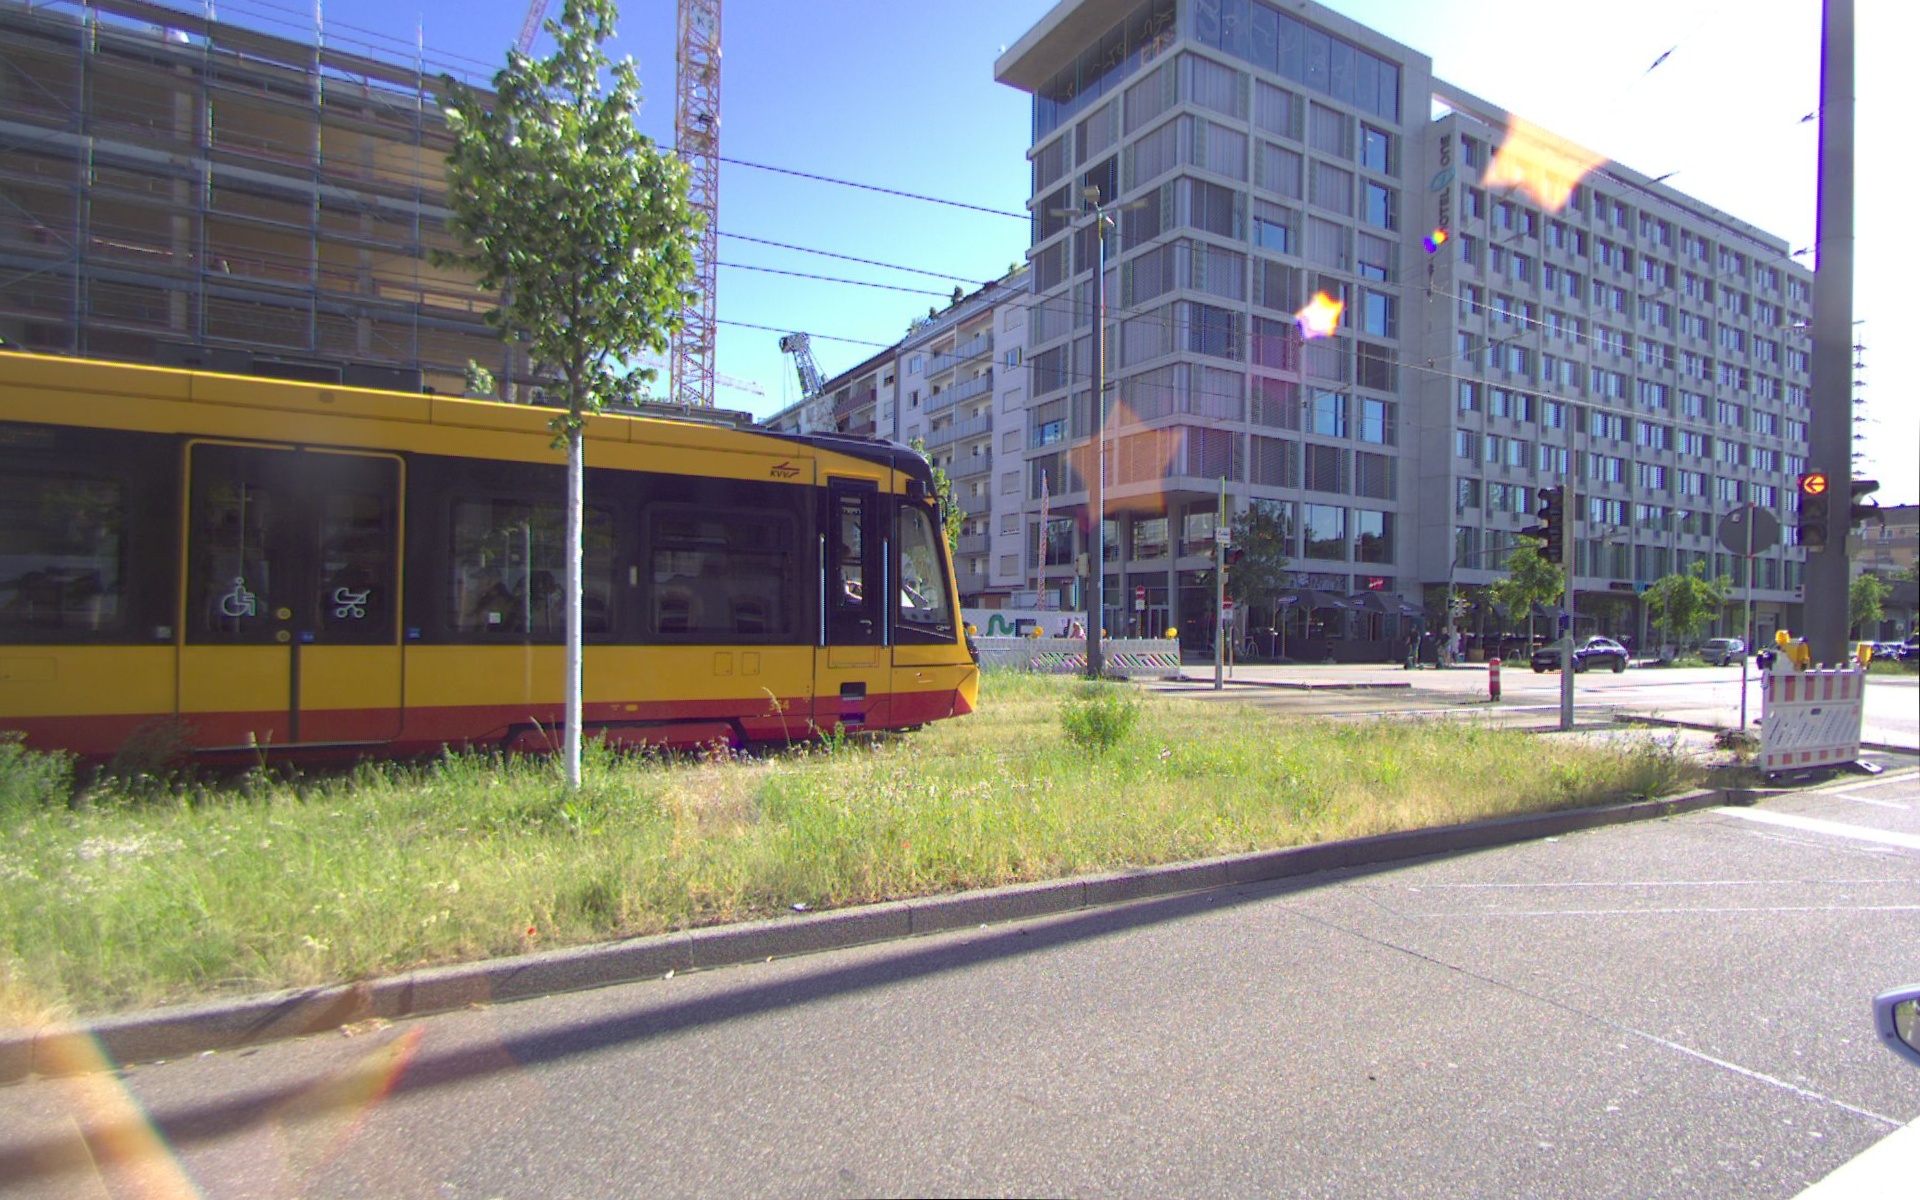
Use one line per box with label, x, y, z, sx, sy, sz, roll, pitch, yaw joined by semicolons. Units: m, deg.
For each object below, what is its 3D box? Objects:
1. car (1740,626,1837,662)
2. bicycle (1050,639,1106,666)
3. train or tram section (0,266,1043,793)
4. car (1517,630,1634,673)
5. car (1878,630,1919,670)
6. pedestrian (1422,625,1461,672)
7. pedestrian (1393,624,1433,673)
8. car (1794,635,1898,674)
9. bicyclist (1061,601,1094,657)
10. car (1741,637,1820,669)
car;39.274;2.099;47.636;3.945;1.572;1.988;2;0;-24
bicycle;4.418;1.965;37.491;1.983;0.949;0.771;2;0;-28
train or tram section;-4.677;-0.417;9.321;11.536;3.718;1.986;2;0;-28
car;24.192;2.023;39.490;3.942;1.572;1.989;2;0;-22
car;46.855;2.453;49.143;4.242;1.843;1.981;2;0;-35
pedestrian;21.835;2.183;45.570;1.253;2.040;1.062;2;0;-35
pedestrian;19.853;2.115;43.990;1.253;2.040;1.062;2;0;-35
car;39.080;2.407;44.318;3.945;1.572;1.988;2;0;-24
bicyclist;4.384;1.067;37.479;0.836;2.040;0.801;2;0;-29
car;44.121;2.832;54.012;3.951;1.572;1.985;2;0;-29
